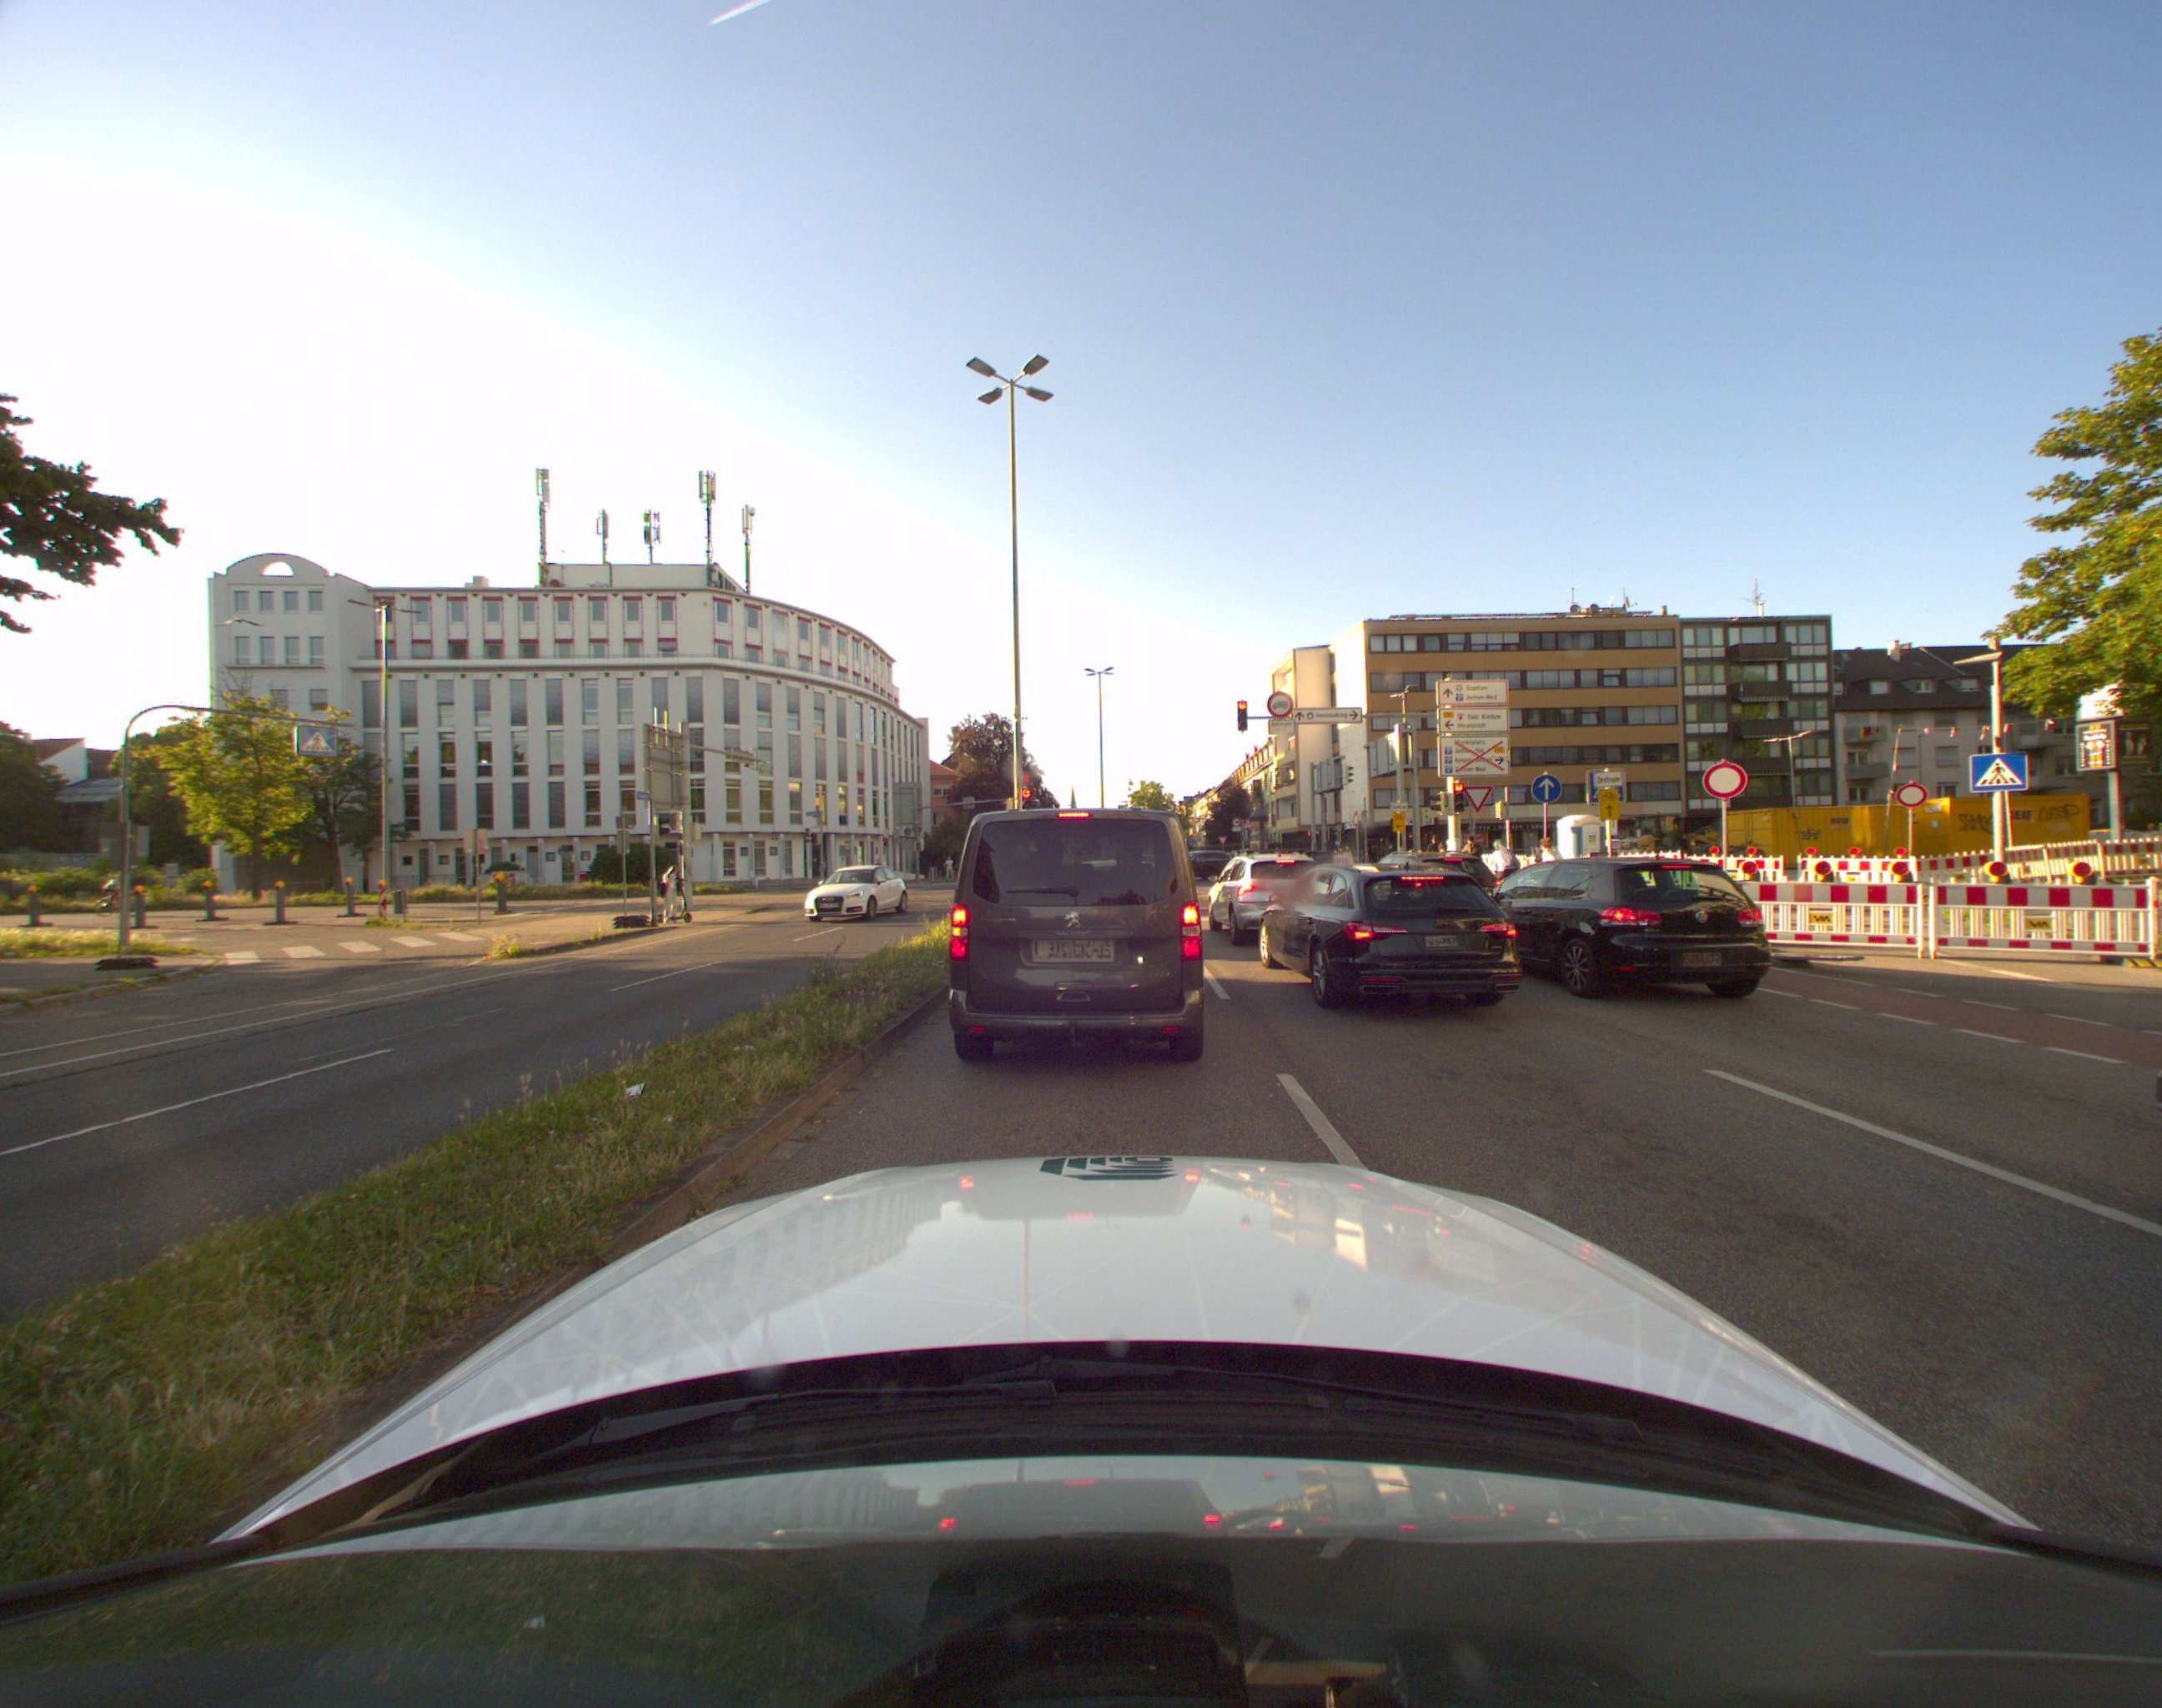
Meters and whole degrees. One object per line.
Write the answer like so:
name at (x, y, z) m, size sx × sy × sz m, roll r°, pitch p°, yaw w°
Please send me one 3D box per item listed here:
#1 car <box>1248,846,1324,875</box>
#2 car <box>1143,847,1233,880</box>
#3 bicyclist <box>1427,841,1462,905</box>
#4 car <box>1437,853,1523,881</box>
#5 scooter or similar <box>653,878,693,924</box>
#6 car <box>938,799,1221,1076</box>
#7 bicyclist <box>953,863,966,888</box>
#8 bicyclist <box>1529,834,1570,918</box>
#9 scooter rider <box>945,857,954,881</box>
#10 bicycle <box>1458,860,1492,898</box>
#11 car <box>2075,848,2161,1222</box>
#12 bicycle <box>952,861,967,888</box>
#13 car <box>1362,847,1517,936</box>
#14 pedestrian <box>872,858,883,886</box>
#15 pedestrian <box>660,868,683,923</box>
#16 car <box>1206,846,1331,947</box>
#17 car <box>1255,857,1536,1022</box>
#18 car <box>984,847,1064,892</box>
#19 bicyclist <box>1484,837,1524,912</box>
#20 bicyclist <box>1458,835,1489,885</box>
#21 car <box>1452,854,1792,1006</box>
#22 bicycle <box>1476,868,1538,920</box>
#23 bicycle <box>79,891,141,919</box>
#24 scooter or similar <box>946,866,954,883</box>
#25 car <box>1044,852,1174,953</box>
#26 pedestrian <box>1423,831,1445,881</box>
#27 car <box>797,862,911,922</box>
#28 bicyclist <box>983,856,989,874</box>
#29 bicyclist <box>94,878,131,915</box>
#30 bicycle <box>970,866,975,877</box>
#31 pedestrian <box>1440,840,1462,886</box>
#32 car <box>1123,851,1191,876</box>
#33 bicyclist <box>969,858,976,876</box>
car at (12.370, 0.381, 49.266) m, size 4.109 × 1.594 × 1.793 m, roll -2°, pitch -1°, yaw -4°
car at (5.376, 0.465, 40.866) m, size 4.252 × 1.441 × 1.687 m, roll -2°, pitch 0°, yaw -28°
bicyclist at (8.977, 0.458, 20.123) m, size 0.511 × 1.525 × 0.725 m, roll -2°, pitch 0°, yaw 1°
car at (22.245, 0.717, 45.499) m, size 3.974 × 1.418 × 1.681 m, roll -2°, pitch 0°, yaw 0°
scooter or similar at (-11.448, 1.302, 22.873) m, size 0.893 × 1.234 × 0.370 m, roll -2°, pitch 0°, yaw -10°
car at (0.058, 0.569, 7.766) m, size 1.900 × 1.863 × 4.528 m, roll 0°, pitch 0°, yaw 2°
bicyclist at (-9.733, 1.701, 65.195) m, size 0.830 × 2.014 × 1.065 m, roll 0°, pitch -1°, yaw 3°
bicyclist at (8.643, 0.399, 15.034) m, size 0.439 × 1.525 × 0.482 m, roll -2°, pitch 0°, yaw 1°
scooter rider at (-9.466, 1.104, 58.721) m, size 0.479 × 1.697 × 0.636 m, roll -2°, pitch 0°, yaw 1°
bicycle at (12.812, 0.802, 26.513) m, size 0.371 × 1.161 × 1.499 m, roll 0°, pitch 1°, yaw -2°
car at (5.106, 0.687, 1.106) m, size 1.809 × 1.449 × 4.665 m, roll -1°, pitch 0°, yaw -1°
bicycle at (-9.690, 1.626, 65.111) m, size 0.712 × 2.013 × 2.564 m, roll -2°, pitch 0°, yaw 2°
car at (6.584, 0.637, 15.308) m, size 1.499 × 1.449 × 3.306 m, roll -2°, pitch 0°, yaw 2°
pedestrian at (-12.820, 1.150, 51.370) m, size 0.626 × 1.722 × 0.668 m, roll -2°, pitch 0°, yaw -12°
pedestrian at (-11.549, 1.168, 22.989) m, size 0.474 × 1.505 × 0.334 m, roll -2°, pitch 0°, yaw -10°
car at (3.287, 0.688, 14.917) m, size 1.523 × 1.613 × 3.746 m, roll 0°, pitch 0°, yaw 2°
car at (3.199, 0.757, 9.236) m, size 1.675 × 1.421 × 4.215 m, roll 0°, pitch 0°, yaw 2°
car at (-2.408, 0.615, 35.692) m, size 1.977 × 1.817 × 4.250 m, roll -2°, pitch 0°, yaw 19°
bicyclist at (8.911, 0.423, 17.187) m, size 0.439 × 1.525 × 0.725 m, roll -2°, pitch 0°, yaw 2°
bicyclist at (12.788, 0.185, 26.538) m, size 0.616 × 1.589 × 0.814 m, roll 0°, pitch 0°, yaw -2°
car at (6.021, 0.732, 9.653) m, size 1.627 × 1.449 × 3.746 m, roll 0°, pitch 0°, yaw 2°
bicycle at (8.912, 0.808, 17.102) m, size 0.335 × 1.008 × 1.856 m, roll -2°, pitch 0°, yaw 2°
bicycle at (-40.445, 2.122, 33.935) m, size 1.795 × 1.042 × 0.502 m, roll -2°, pitch 0°, yaw -5°
scooter or similar at (-9.461, 1.458, 58.798) m, size 0.284 × 1.189 × 1.169 m, roll -2°, pitch 0°, yaw 2°
car at (0.502, 0.760, 14.736) m, size 1.986 × 1.530 × 4.002 m, roll -2°, pitch 0°, yaw 2°
pedestrian at (13.124, 0.078, 30.250) m, size 0.567 × 1.834 × 0.488 m, roll -2°, pitch 0°, yaw 4°
car at (-6.118, 0.988, 22.409) m, size 1.682 × 1.387 × 3.693 m, roll -3°, pitch 0°, yaw 6°
bicyclist at (-8.494, 0.988, 72.933) m, size 0.475 × 1.555 × 0.510 m, roll -2°, pitch 0°, yaw 1°
bicyclist at (-40.353, 1.776, 33.932) m, size 0.884 × 1.496 × 0.457 m, roll -2°, pitch 0°, yaw -5°
bicycle at (-9.516, 1.524, 71.428) m, size 0.289 × 0.949 × 1.073 m, roll -2°, pitch 0°, yaw 2°
pedestrian at (13.812, 0.335, 30.408) m, size 0.599 × 1.671 × 0.455 m, roll -2°, pitch 0°, yaw 3°
car at (4.444, 0.556, 47.977) m, size 3.775 × 1.372 × 1.648 m, roll -2°, pitch 0°, yaw -4°
bicyclist at (-9.509, 1.118, 71.426) m, size 0.461 × 1.522 × 0.469 m, roll -2°, pitch 0°, yaw 1°
